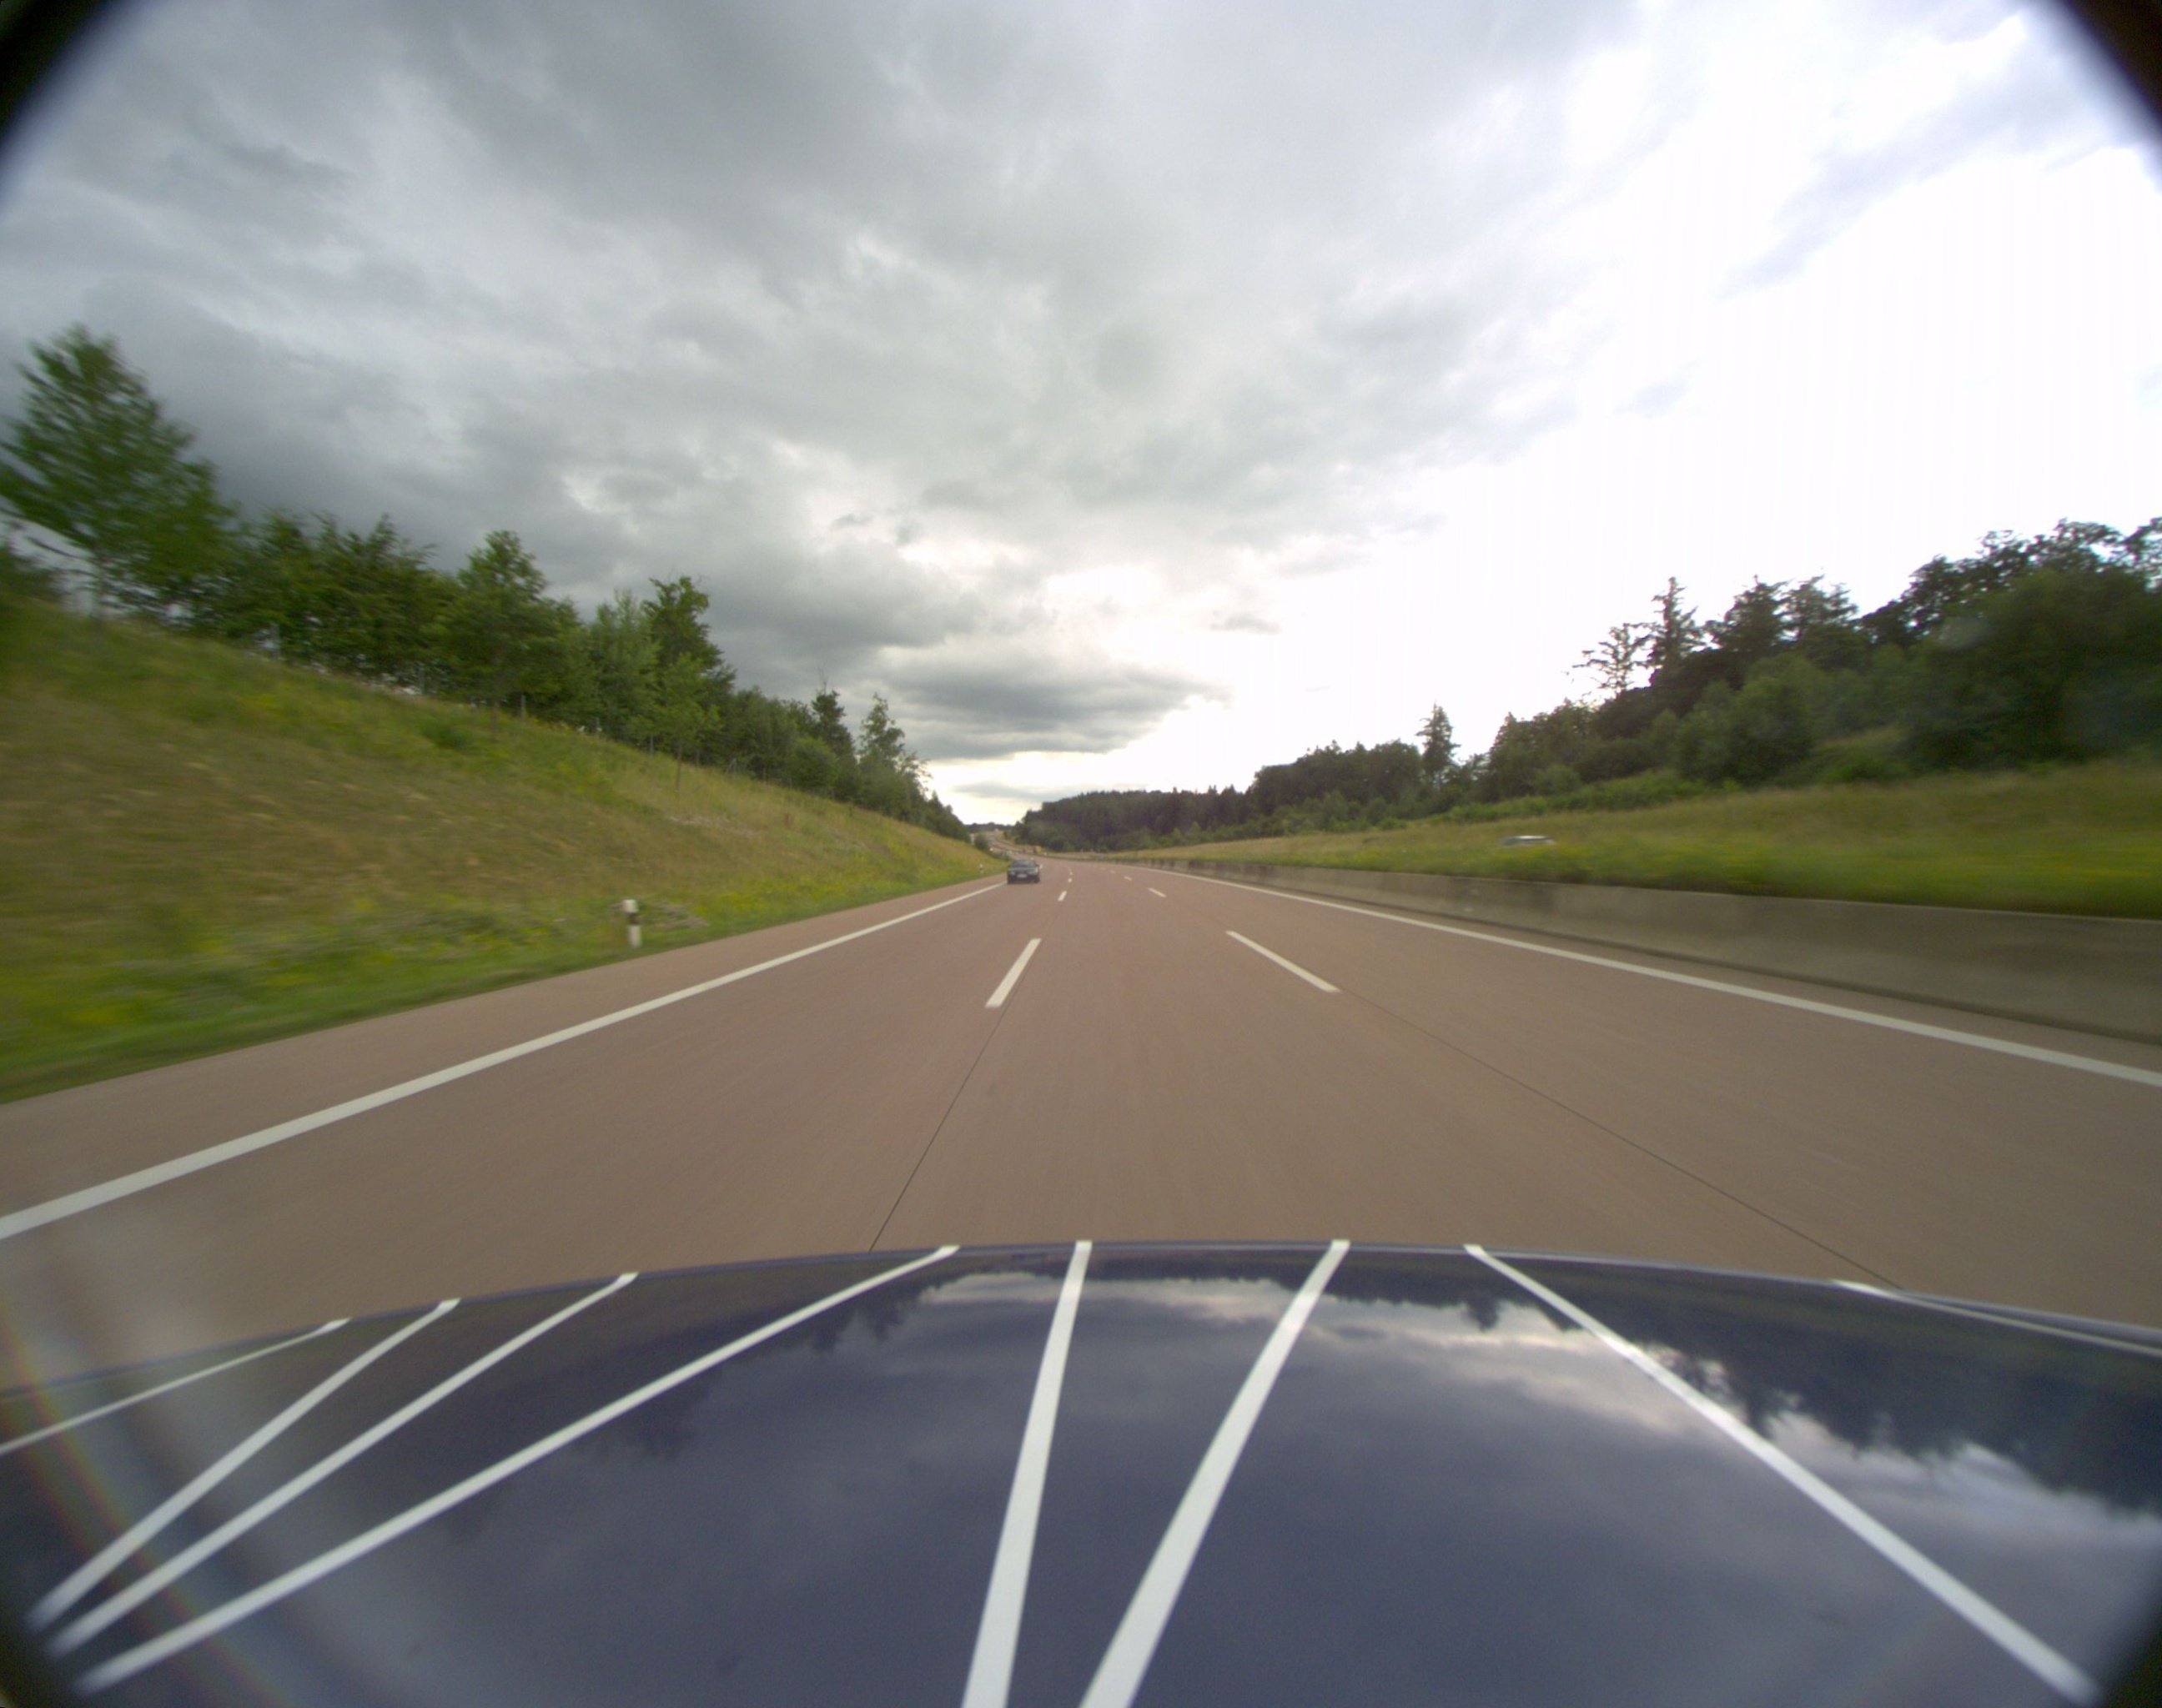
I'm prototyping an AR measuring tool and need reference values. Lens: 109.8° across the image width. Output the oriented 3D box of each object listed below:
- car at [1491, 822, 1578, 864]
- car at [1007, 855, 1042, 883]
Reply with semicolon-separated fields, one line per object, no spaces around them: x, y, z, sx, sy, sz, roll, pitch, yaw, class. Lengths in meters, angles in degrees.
22.206;-0.584;37.400;1.836;1.836;4.119;-2;2;1;car
-3.220;0.836;43.999;1.676;1.395;4.232;-1;2;1;car
